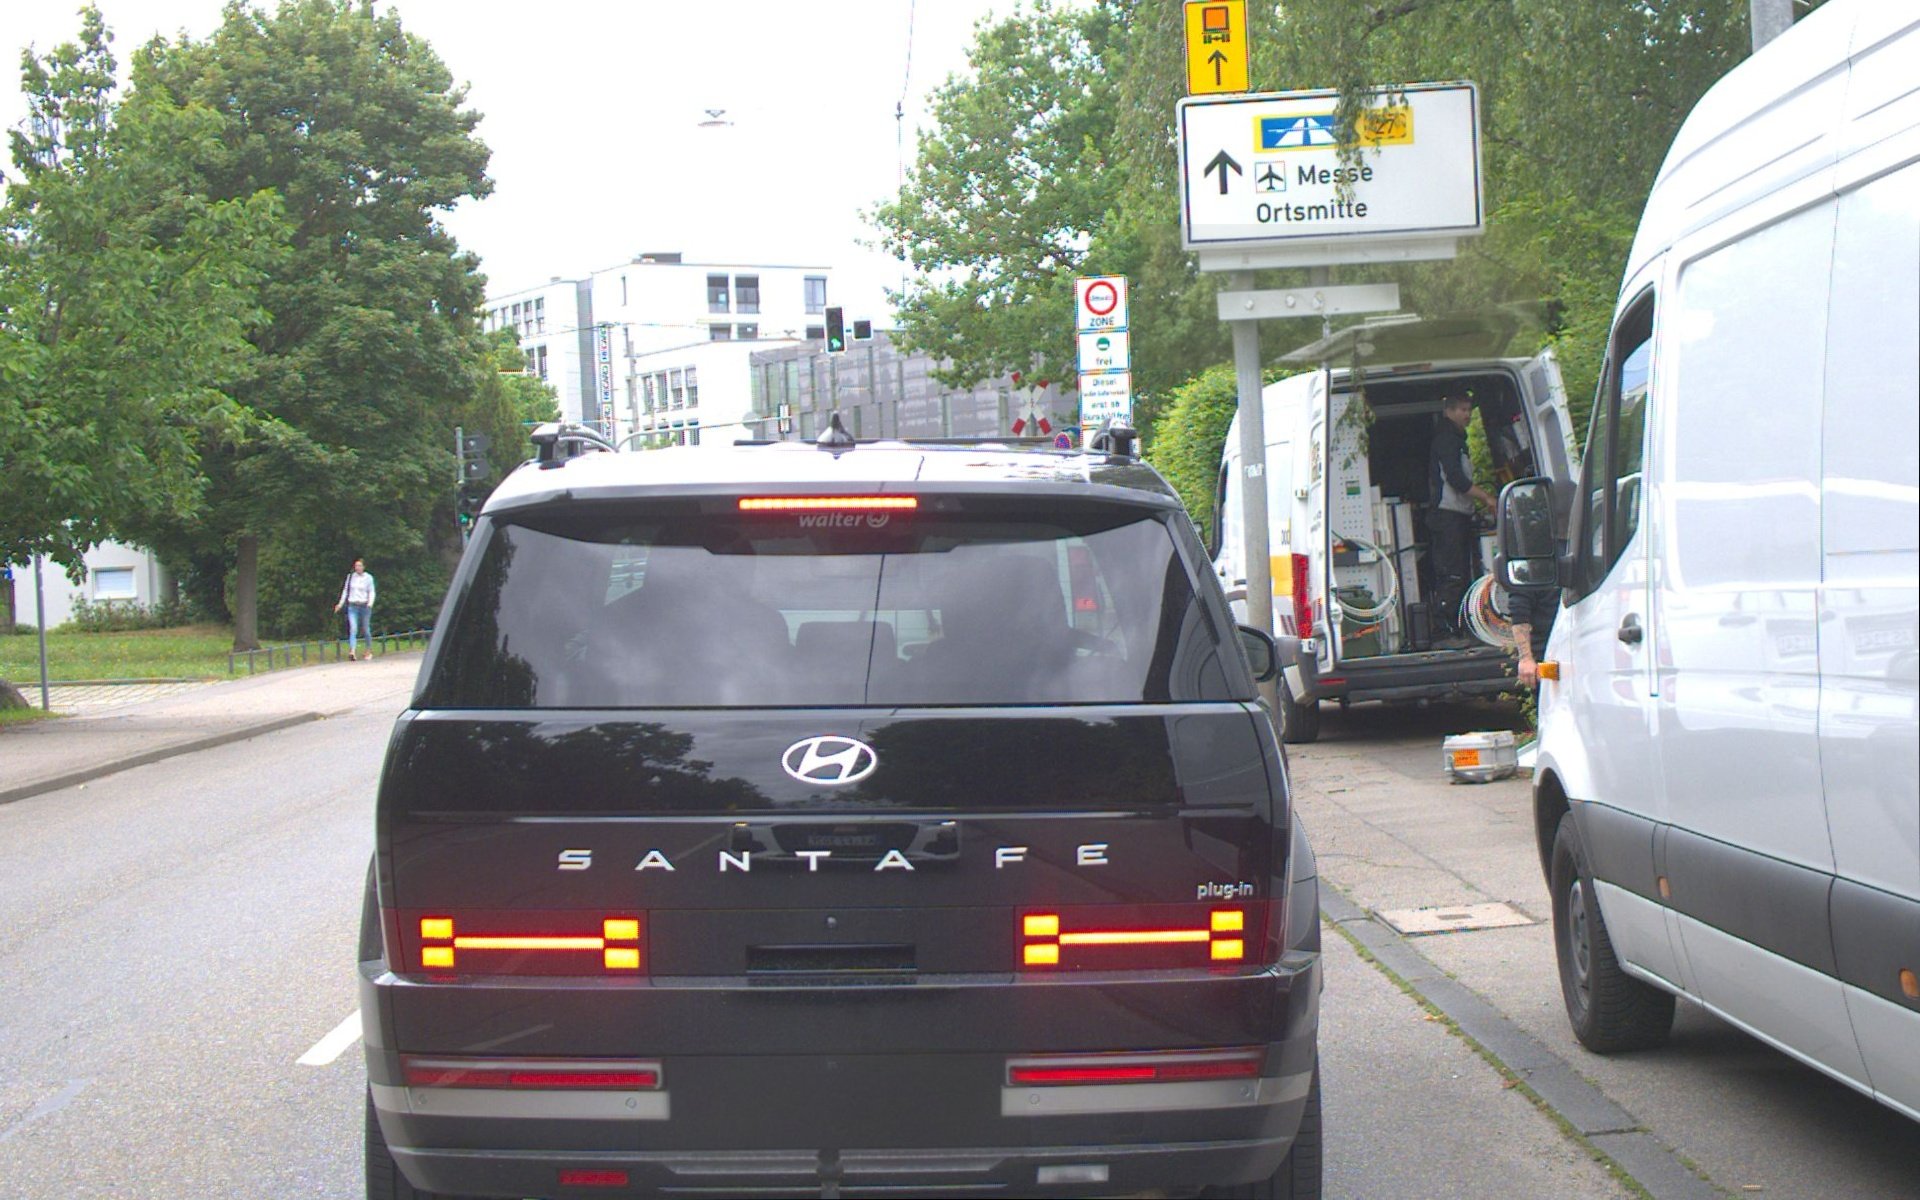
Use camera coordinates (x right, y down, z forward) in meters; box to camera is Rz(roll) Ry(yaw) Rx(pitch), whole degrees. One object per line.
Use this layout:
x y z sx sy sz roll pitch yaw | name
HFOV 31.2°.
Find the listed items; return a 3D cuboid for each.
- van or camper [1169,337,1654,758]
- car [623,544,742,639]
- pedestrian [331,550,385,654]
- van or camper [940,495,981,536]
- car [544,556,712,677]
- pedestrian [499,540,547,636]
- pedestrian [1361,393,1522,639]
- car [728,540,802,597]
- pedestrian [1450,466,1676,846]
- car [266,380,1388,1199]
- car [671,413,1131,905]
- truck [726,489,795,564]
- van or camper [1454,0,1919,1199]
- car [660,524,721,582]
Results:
3.088 -0.334 25.268 2.340 2.486 6.603 -5 0 -1 | van or camper
-4.780 -0.157 59.615 1.701 1.478 4.000 -4 1 -1 | car
-10.202 0.035 58.310 0.767 1.742 0.904 -1 0 -3 | pedestrian
0.007 -4.234 172.477 1.795 1.992 3.824 1 1 -4 | van or camper
-4.335 0.183 45.467 1.756 1.398 4.414 -4 1 -1 | car
-9.216 -0.257 72.491 0.830 2.007 1.047 1 0 2 | pedestrian
3.334 -0.578 23.789 0.800 1.638 0.738 -3 0 30 | pedestrian
-5.537 -0.903 98.144 1.814 1.414 4.829 -5 1 -1 | car
2.794 0.253 15.989 0.789 1.715 0.753 1 0 -11 | pedestrian
-0.252 0.504 7.874 1.897 1.770 3.994 1 1 -1 | car
-0.270 0.229 16.394 1.897 2.035 3.994 1 1 -1 | car
-10.903 -3.966 187.022 3.107 3.846 9.623 -2 1 -6 | truck
2.609 -0.018 6.994 1.991 2.616 6.544 -5 1 -1 | van or camper
-11.324 -1.964 144.230 2.332 2.307 4.959 -2 1 -6 | car
